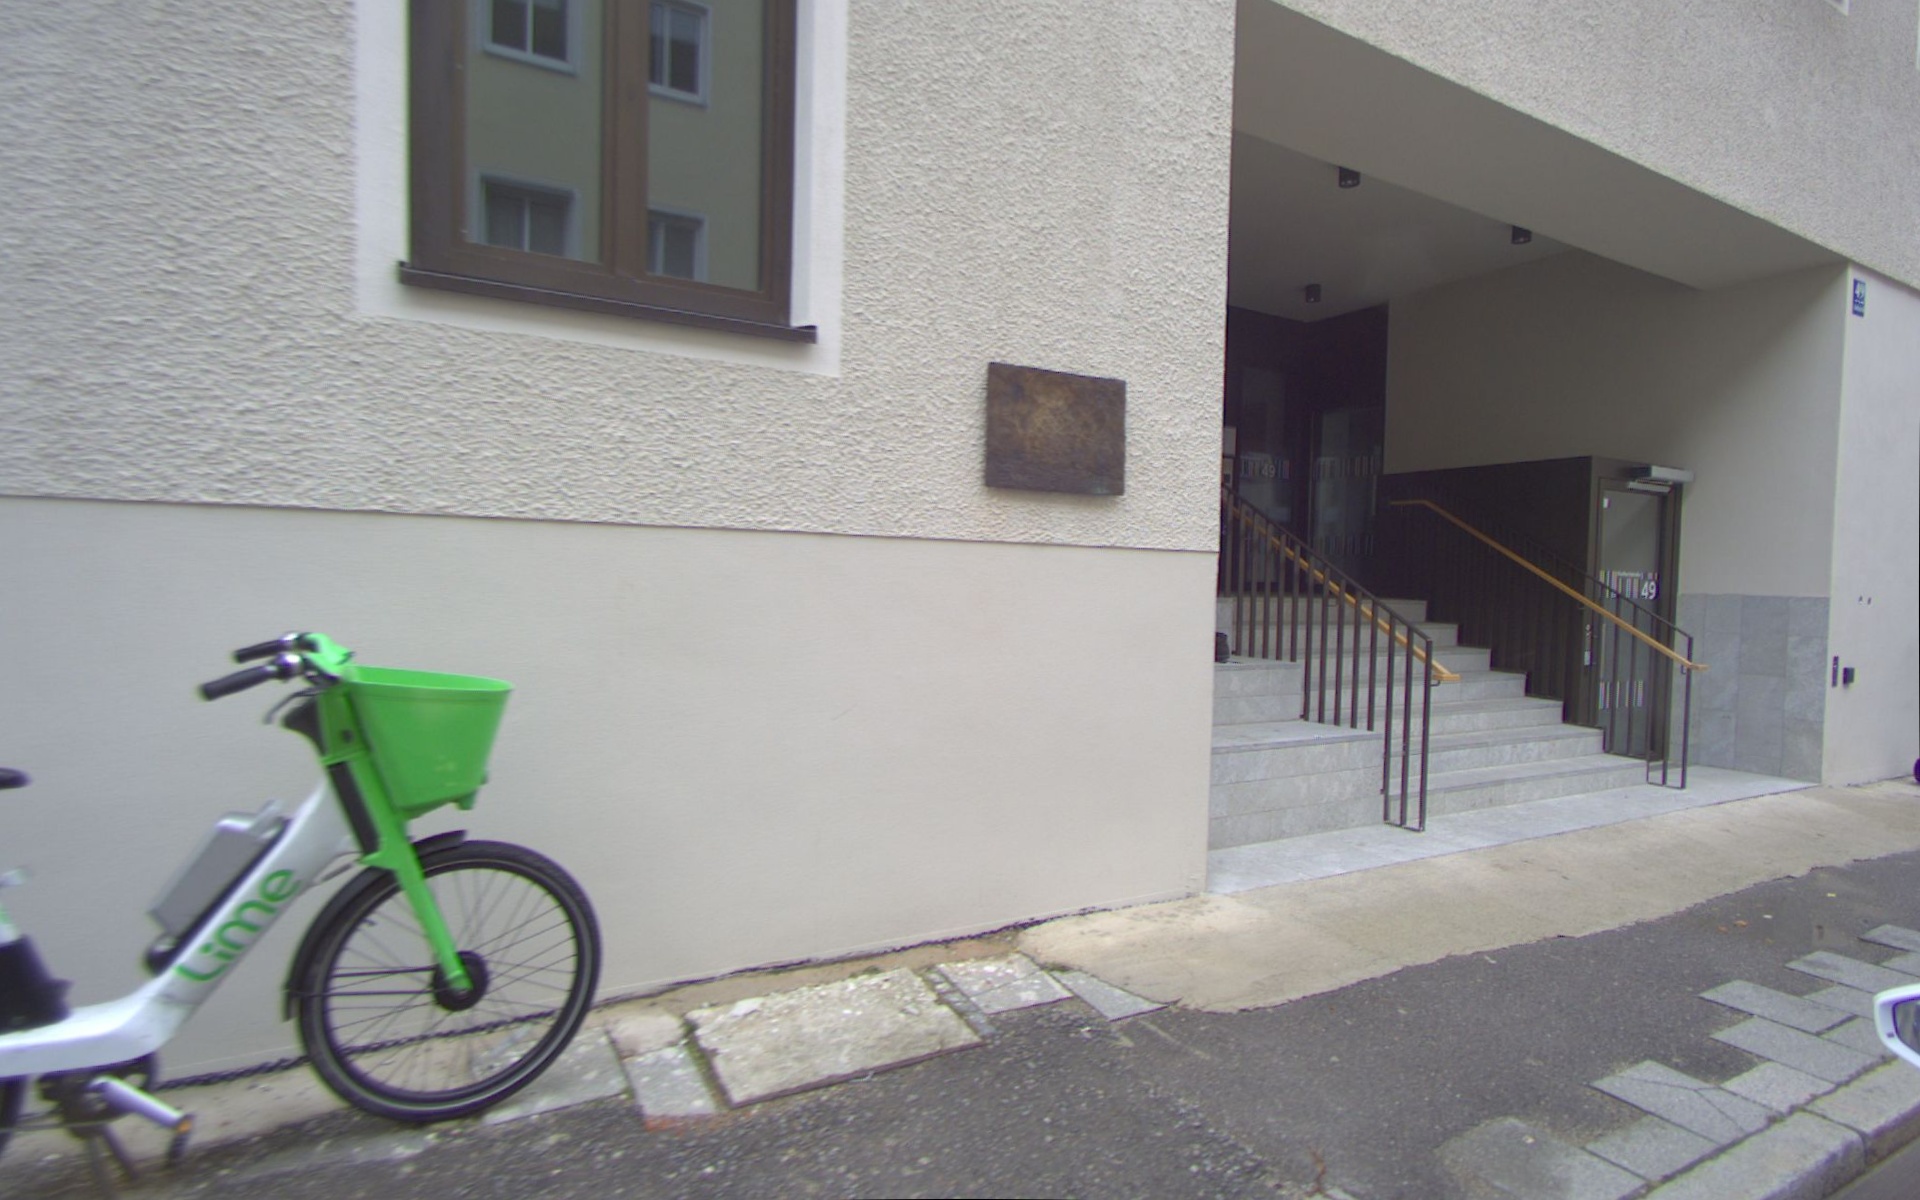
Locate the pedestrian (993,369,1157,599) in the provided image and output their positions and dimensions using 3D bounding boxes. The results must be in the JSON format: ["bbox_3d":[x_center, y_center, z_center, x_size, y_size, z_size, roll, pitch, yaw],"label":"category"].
[{"bbox_3d":[0.807,-0.776,7.285,0.749,1.504,1.004,2,1,-23],"label":"pedestrian"}]

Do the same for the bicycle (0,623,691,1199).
[{"bbox_3d":[-1.598,0.649,2.122,1.895,1.154,0.535,1,3,-31],"label":"bicycle"}]

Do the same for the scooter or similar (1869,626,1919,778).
[{"bbox_3d":[8.179,0.838,8.072,1.335,1.159,0.552,2,4,-13],"label":"scooter or similar"}]
